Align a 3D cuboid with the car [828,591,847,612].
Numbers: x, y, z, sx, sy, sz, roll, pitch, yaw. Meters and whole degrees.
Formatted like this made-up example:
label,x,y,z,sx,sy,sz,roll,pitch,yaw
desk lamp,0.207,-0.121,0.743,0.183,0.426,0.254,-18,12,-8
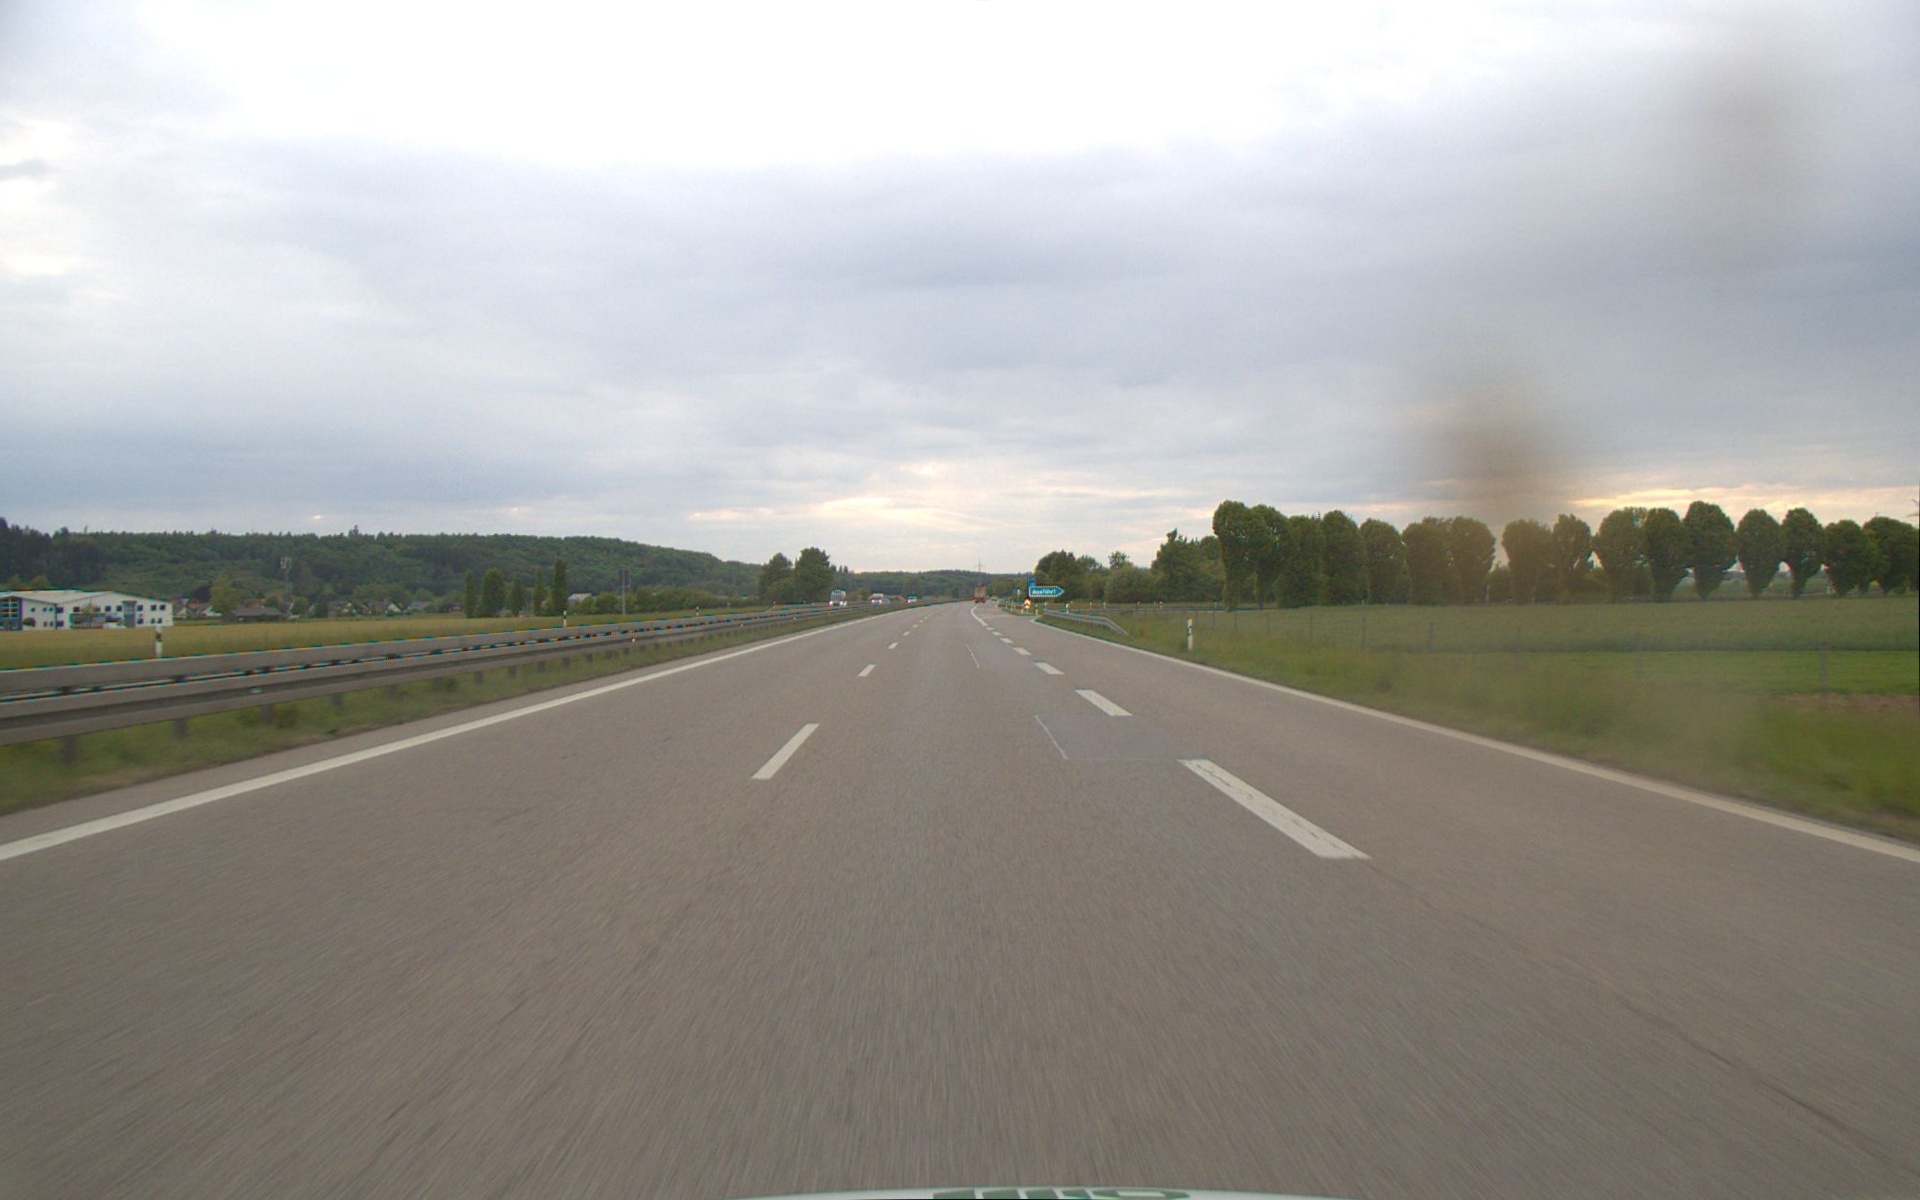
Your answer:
label,x,y,z,sx,sy,sz,roll,pitch,yaw
car,-17.484,0.199,236.334,2.062,2.850,6.427,1,0,0
